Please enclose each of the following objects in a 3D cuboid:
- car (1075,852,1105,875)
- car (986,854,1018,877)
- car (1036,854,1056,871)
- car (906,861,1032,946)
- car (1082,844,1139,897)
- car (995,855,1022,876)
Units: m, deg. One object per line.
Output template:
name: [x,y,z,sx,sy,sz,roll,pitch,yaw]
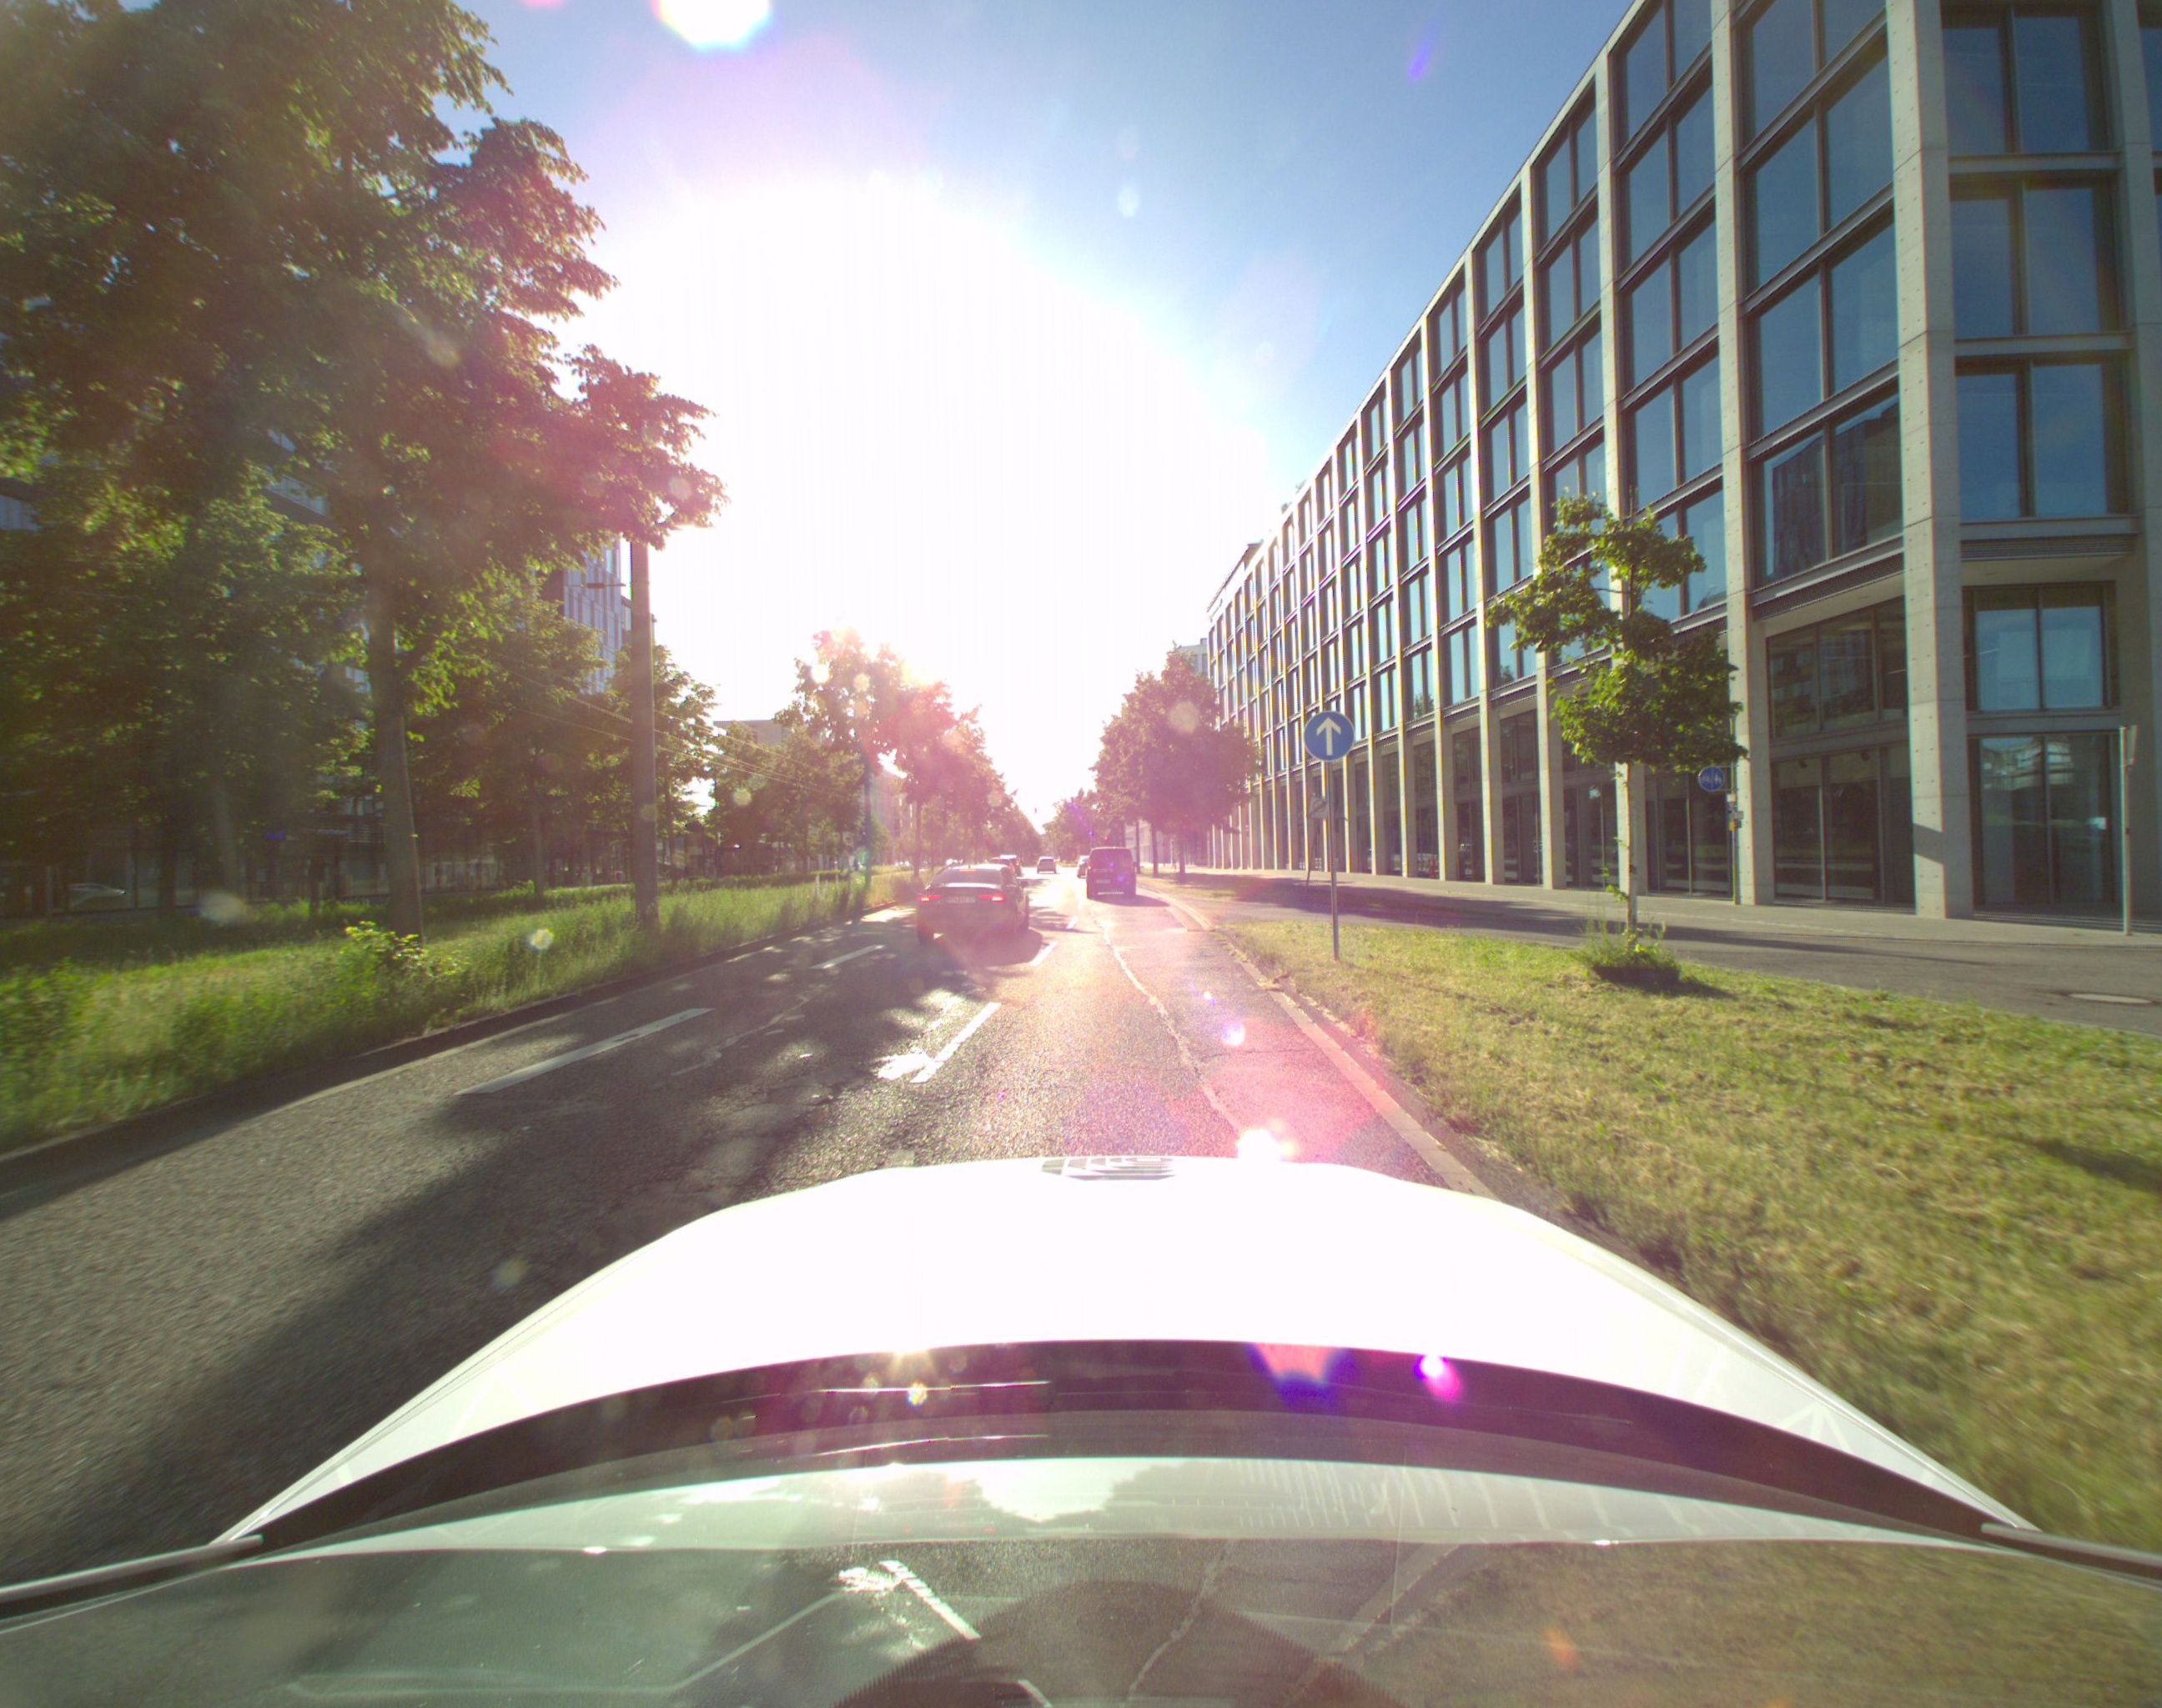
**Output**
car: [0.598,0.578,54.467,1.717,1.425,3.812,0,1,-4]
car: [-5.153,0.741,53.743,1.938,1.441,3.994,-1,0,-4]
car: [-3.071,0.712,71.948,1.717,1.425,3.813,-1,0,-2]
car: [-1.999,0.838,15.662,1.714,1.366,4.147,-1,0,2]
car: [1.029,0.553,29.959,1.793,1.777,3.997,-1,0,-2]
car: [-5.679,0.887,64.234,1.837,1.534,3.938,-1,0,-1]
